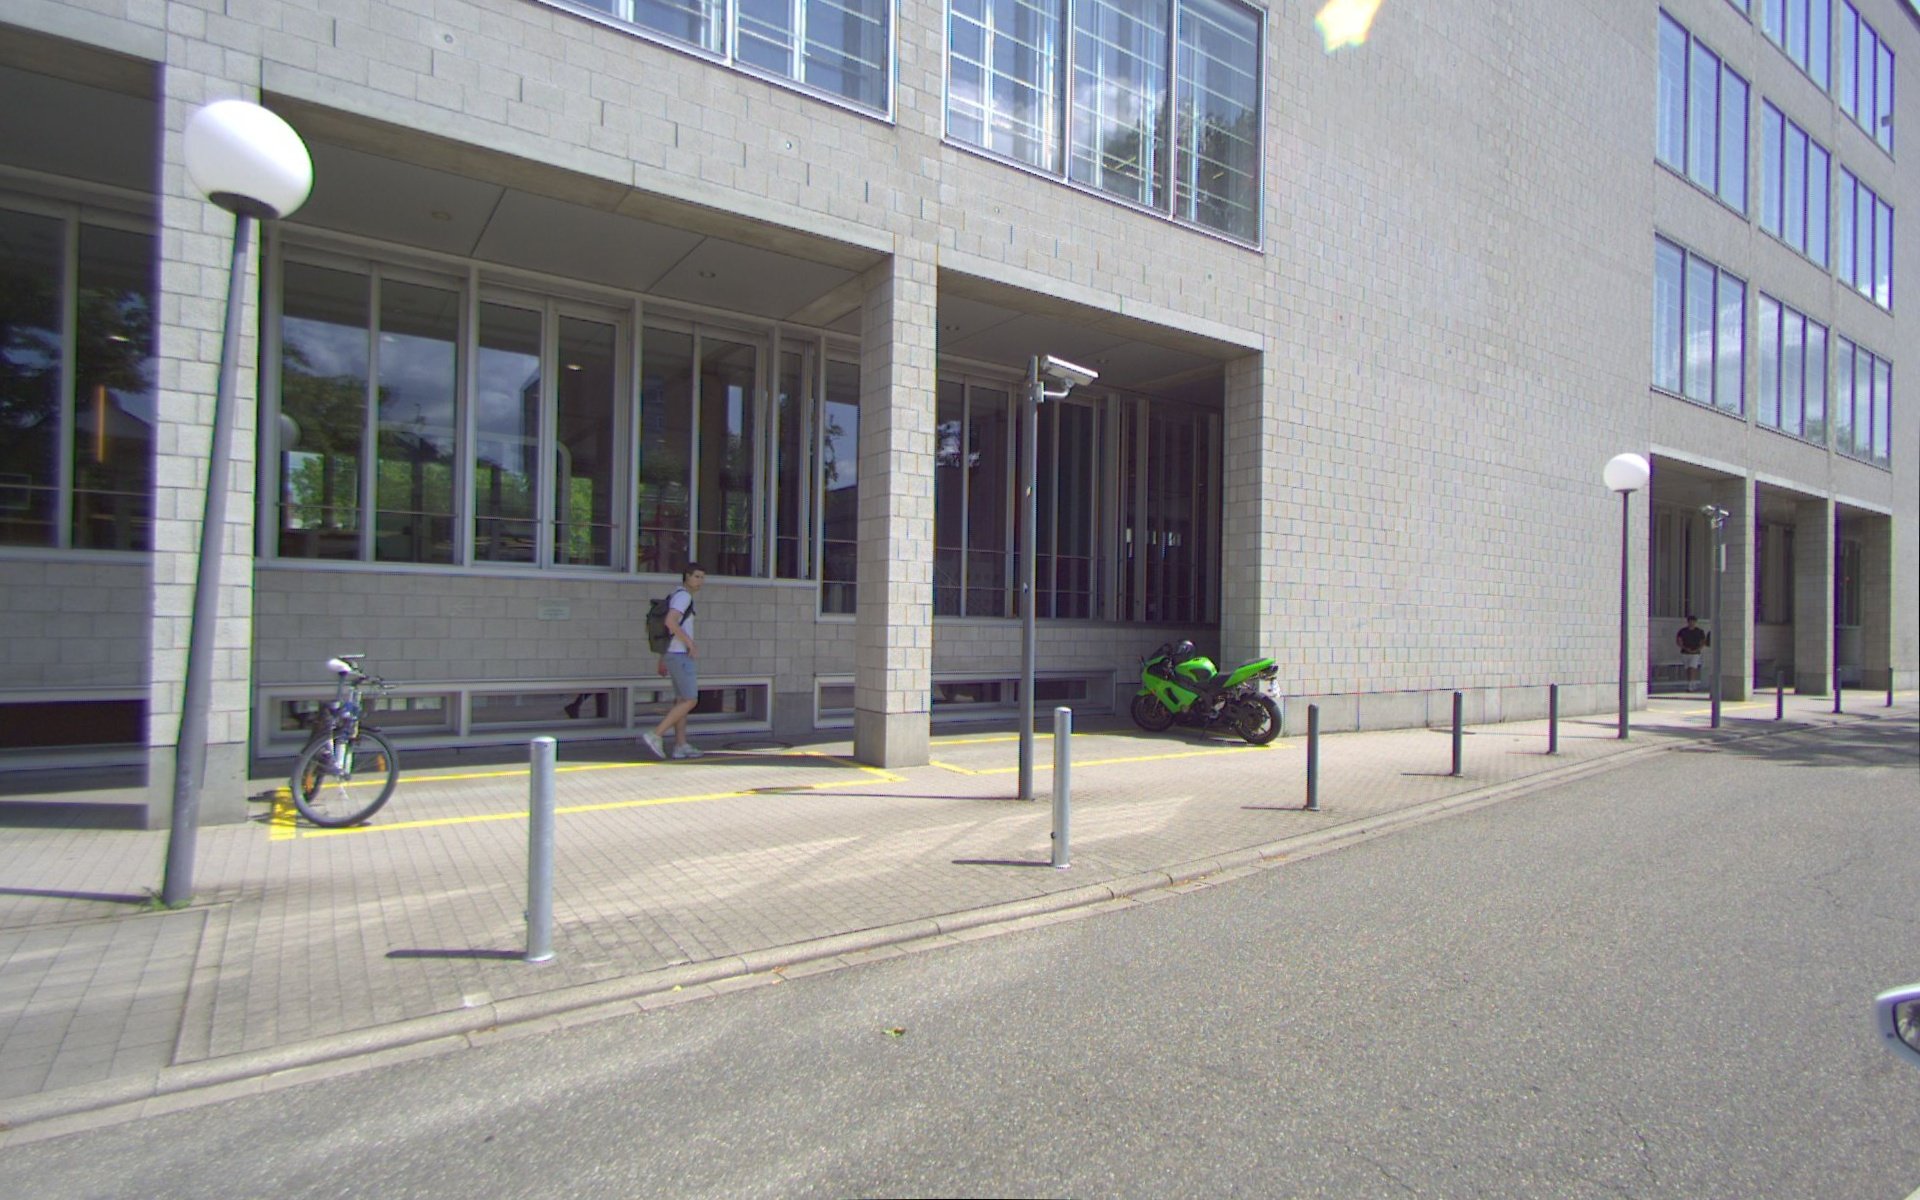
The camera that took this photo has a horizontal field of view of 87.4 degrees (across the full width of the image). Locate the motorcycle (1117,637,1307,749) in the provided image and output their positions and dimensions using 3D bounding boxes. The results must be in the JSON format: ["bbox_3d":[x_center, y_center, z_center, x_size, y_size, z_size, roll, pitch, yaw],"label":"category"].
[{"bbox_3d":[3.032,1.076,12.271,0.770,1.153,2.144,2,0,-44],"label":"motorcycle"}]

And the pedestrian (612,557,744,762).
[{"bbox_3d":[-2.735,0.549,9.734,1.004,1.863,0.772,2,0,-35],"label":"pedestrian"}]

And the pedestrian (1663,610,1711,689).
[{"bbox_3d":[17.971,1.218,24.829,0.712,1.905,0.726,2,0,-34],"label":"pedestrian"}]

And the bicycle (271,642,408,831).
[{"bbox_3d":[-4.411,0.884,7.091,0.603,1.101,1.625,2,0,-39],"label":"bicycle"}]
